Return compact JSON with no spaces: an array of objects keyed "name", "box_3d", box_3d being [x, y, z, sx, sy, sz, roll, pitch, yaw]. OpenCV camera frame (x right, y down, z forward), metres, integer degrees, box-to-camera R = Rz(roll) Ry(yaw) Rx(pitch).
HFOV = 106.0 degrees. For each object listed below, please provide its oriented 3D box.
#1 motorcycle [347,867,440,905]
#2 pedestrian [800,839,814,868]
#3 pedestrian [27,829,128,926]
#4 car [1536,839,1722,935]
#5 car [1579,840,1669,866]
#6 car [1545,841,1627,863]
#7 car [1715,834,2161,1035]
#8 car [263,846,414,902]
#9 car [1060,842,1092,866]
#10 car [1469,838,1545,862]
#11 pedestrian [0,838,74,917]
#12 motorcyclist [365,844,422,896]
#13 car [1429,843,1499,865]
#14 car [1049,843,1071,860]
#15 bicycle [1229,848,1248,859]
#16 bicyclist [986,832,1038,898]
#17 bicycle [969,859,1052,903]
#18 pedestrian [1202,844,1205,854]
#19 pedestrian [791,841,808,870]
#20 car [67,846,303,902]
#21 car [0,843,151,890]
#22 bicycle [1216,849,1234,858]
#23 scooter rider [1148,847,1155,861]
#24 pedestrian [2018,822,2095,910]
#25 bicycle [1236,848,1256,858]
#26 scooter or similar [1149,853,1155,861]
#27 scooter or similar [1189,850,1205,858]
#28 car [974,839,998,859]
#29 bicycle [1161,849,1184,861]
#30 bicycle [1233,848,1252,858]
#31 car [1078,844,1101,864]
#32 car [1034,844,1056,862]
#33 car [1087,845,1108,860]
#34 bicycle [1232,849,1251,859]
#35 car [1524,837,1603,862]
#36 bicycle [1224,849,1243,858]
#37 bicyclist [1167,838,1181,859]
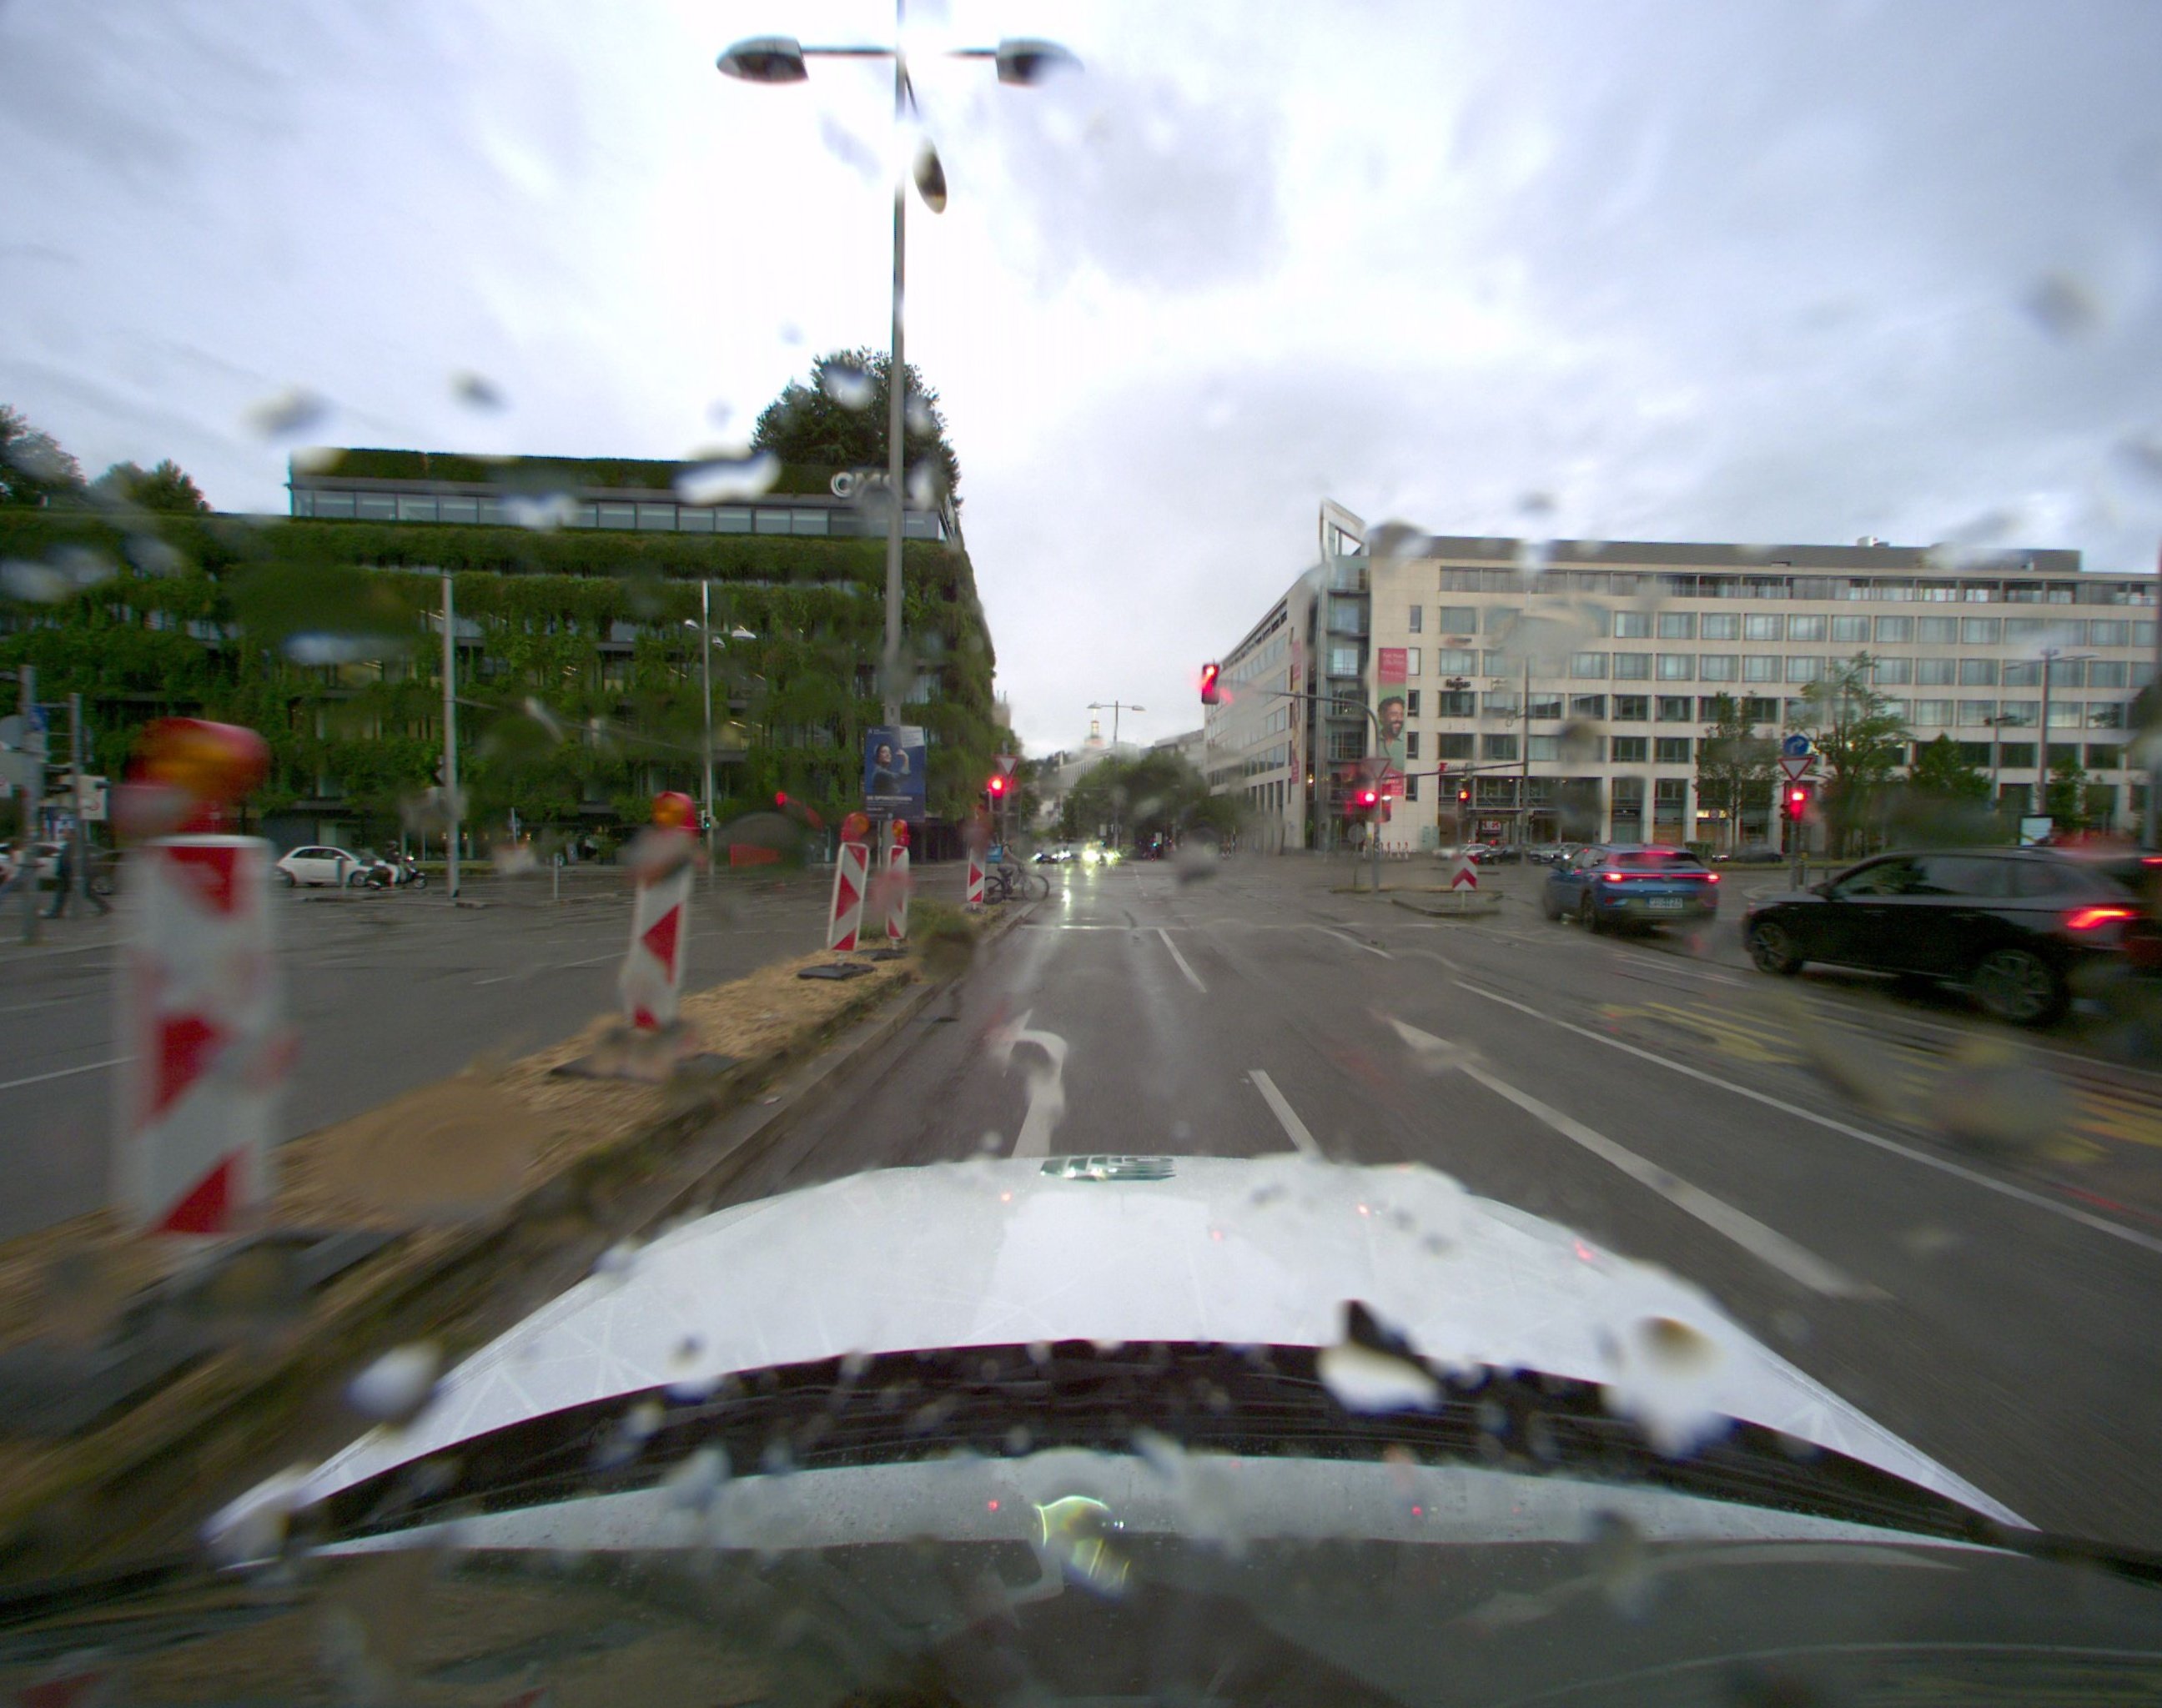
[{"name":"motorcycle","box_3d":[-23.159,1.055,27.486,2.231,1.210,0.844,0,0,-15]},{"name":"pedestrian","box_3d":[-16.902,-0.054,50.275,0.744,1.758,0.969,0,0,-22]},{"name":"pedestrian","box_3d":[-20.484,0.458,16.642,0.781,1.885,0.898,-4,1,1]},{"name":"car","box_3d":[10.068,0.507,15.365,1.690,1.529,4.446,0,1,17]},{"name":"car","box_3d":[31.548,-0.062,47.341,4.452,1.464,1.716,0,0,-11]},{"name":"car","box_3d":[31.503,-0.140,50.839,4.455,1.348,1.715,0,0,-13]},{"name":"car","box_3d":[8.833,0.592,8.281,1.770,1.540,4.151,0,1,4]},{"name":"car","box_3d":[-26.786,0.684,29.513,3.450,1.922,1.993,0,0,-11]},{"name":"car","box_3d":[-0.389,-0.003,55.581,1.989,1.550,4.551,0,1,-3]},{"name":"car","box_3d":[29.590,-0.281,56.631,4.451,1.598,1.993,0,0,-10]},{"name":"pedestrian","box_3d":[-22.136,0.495,17.053,0.828,1.585,0.923,-4,1,2]},{"name":"motorcyclist","box_3d":[-23.177,0.514,27.480,1.187,1.703,0.844,0,0,-15]},{"name":"car","box_3d":[28.192,-0.020,60.002,4.455,1.598,1.991,0,0,-14]},{"name":"car","box_3d":[-1.997,-0.275,75.859,1.853,1.448,4.614,0,1,-4]},{"name":"bicycle","box_3d":[14.575,-0.050,75.305,1.778,0.934,0.478,0,1,43]},{"name":"bicyclist","box_3d":[-1.839,0.283,21.499,1.294,1.704,0.845,0,0,-10]},{"name":"bicycle","box_3d":[-1.877,0.710,21.552,2.144,1.103,0.846,0,0,-8]},{"name":"pedestrian","box_3d":[15.277,-0.630,101.432,0.352,1.173,0.415,-1,0,0]},{"name":"pedestrian","box_3d":[-17.355,0.055,50.119,0.939,1.758,1.163,0,0,-22]},{"name":"car","box_3d":[-28.466,0.589,26.072,4.805,1.652,1.963,0,0,-12]},{"name":"car","box_3d":[-35.188,0.409,27.983,3.893,1.523,1.865,0,0,-11]},{"name":"bicycle","box_3d":[14.794,-0.061,83.836,1.786,0.934,0.476,0,0,4]},{"name":"scooter rider","box_3d":[8.803,-0.007,101.150,0.761,1.774,0.794,-1,0,-5]},{"name":"pedestrian","box_3d":[21.344,0.254,17.838,0.673,1.852,1.062,-1,0,24]},{"name":"bicycle","box_3d":[15.365,-0.061,75.928,1.778,0.934,0.478,0,1,43]},{"name":"scooter or similar","box_3d":[8.819,0.324,101.172,0.555,1.007,1.821,-1,0,-4]},{"name":"scooter or similar","box_3d":[12.933,0.015,90.914,1.750,0.878,0.486,-1,0,-18]},{"name":"car","box_3d":[-9.309,-0.539,79.991,1.989,1.895,4.461,0,1,-2]},{"name":"bicycle","box_3d":[8.855,0.064,78.844,0.798,1.117,2.230,0,0,-39]},{"name":"bicycle","box_3d":[15.235,-0.064,76.898,1.778,0.934,0.478,0,1,43]},{"name":"car","box_3d":[0.714,-0.035,72.399,1.957,1.655,4.365,-1,2,0]},{"name":"car","box_3d":[-3.039,-0.086,69.327,1.851,1.448,4.617,0,1,-2]},{"name":"car","box_3d":[1.714,-0.184,84.566,1.988,1.443,4.554,-1,2,-1]},{"name":"bicycle","box_3d":[15.297,-0.030,77.642,1.778,0.934,0.478,0,1,43]},{"name":"car","box_3d":[32.056,-0.291,54.152,4.455,1.598,1.991,0,0,-13]},{"name":"bicycle","box_3d":[15.361,-0.056,81.972,1.786,0.934,0.476,0,0,4]},{"name":"bicyclist","box_3d":[8.973,-0.524,78.719,0.798,1.975,1.101,0,0,-39]}]
